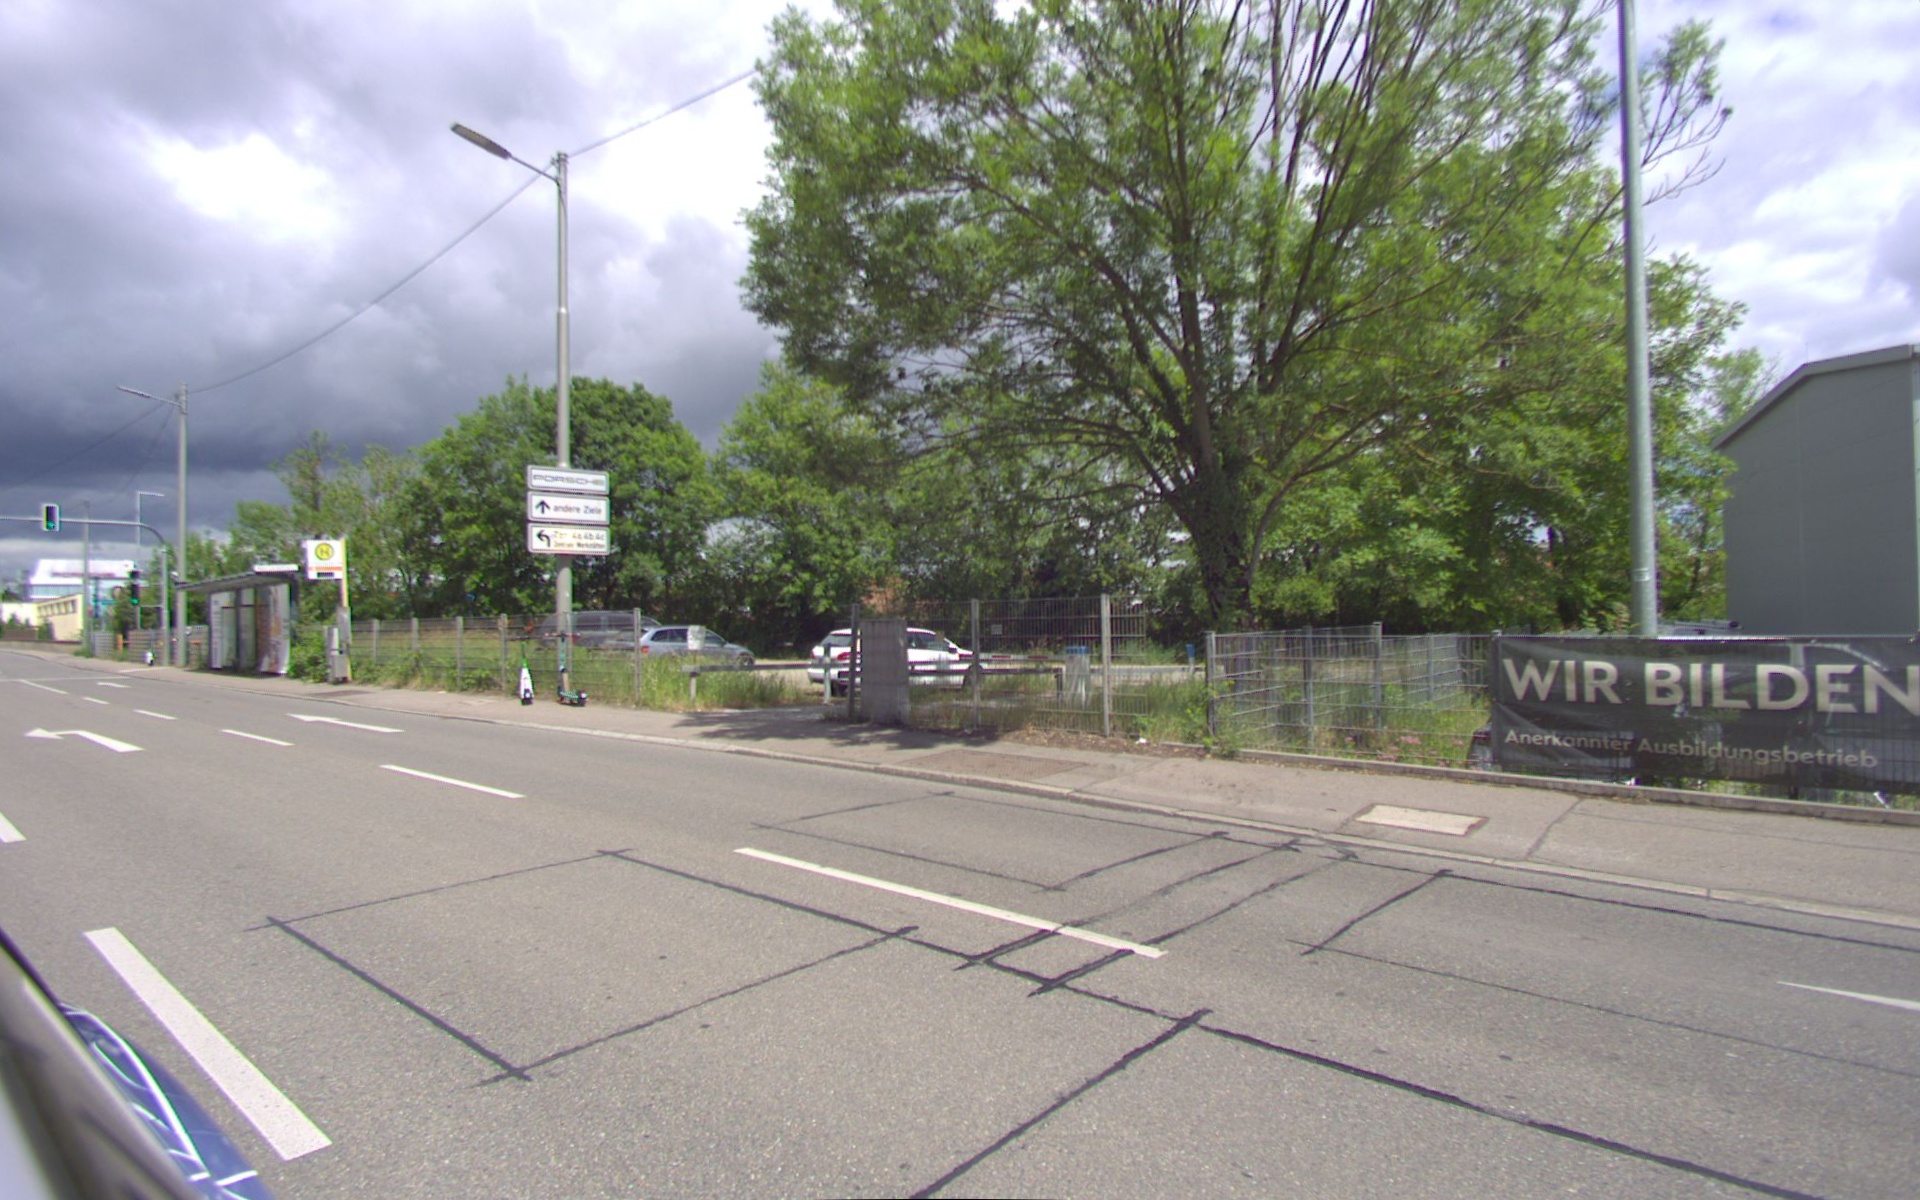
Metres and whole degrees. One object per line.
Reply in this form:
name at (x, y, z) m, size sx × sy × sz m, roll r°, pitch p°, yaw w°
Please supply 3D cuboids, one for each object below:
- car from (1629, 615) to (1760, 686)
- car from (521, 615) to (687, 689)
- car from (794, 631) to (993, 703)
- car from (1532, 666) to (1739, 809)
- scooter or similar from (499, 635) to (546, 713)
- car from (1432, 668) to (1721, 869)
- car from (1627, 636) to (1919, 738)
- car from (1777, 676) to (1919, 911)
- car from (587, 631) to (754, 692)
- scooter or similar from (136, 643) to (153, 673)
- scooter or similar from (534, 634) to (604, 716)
car at (19.443, 1.293, 26.994) m, size 1.830 × 1.742 × 4.143 m, roll -1°, pitch -2°, yaw 22°
car at (-10.480, 1.456, 30.030) m, size 2.136 × 2.029 × 4.240 m, roll -1°, pitch -1°, yaw 34°
car at (-1.408, 1.412, 22.497) m, size 4.226 × 1.391 × 1.867 m, roll 1°, pitch -2°, yaw -44°
car at (9.432, 1.754, 14.004) m, size 1.824 × 1.397 × 3.989 m, roll 0°, pitch 0°, yaw 42°
scooter or similar at (-7.695, 1.270, 17.770) m, size 0.527 × 1.272 × 1.476 m, roll -2°, pitch 0°, yaw -31°
car at (6.620, 1.563, 10.668) m, size 1.928 × 1.397 × 3.990 m, roll 0°, pitch 0°, yaw 42°
car at (15.889, 1.568, 19.405) m, size 4.916 × 1.742 × 1.816 m, roll -2°, pitch -2°, yaw 43°
car at (8.249, 1.502, 8.513) m, size 1.928 × 1.397 × 3.989 m, roll 0°, pitch 0°, yaw 42°
car at (-7.847, 1.618, 27.779) m, size 1.905 × 1.498 × 4.242 m, roll -1°, pitch -1°, yaw 33°
scooter or similar at (-34.613, 2.453, 42.952) m, size 0.419 × 1.220 × 1.127 m, roll -2°, pitch -1°, yaw -44°
scooter or similar at (-6.520, 1.219, 16.840) m, size 0.528 × 1.275 × 1.473 m, roll -2°, pitch 0°, yaw -43°
